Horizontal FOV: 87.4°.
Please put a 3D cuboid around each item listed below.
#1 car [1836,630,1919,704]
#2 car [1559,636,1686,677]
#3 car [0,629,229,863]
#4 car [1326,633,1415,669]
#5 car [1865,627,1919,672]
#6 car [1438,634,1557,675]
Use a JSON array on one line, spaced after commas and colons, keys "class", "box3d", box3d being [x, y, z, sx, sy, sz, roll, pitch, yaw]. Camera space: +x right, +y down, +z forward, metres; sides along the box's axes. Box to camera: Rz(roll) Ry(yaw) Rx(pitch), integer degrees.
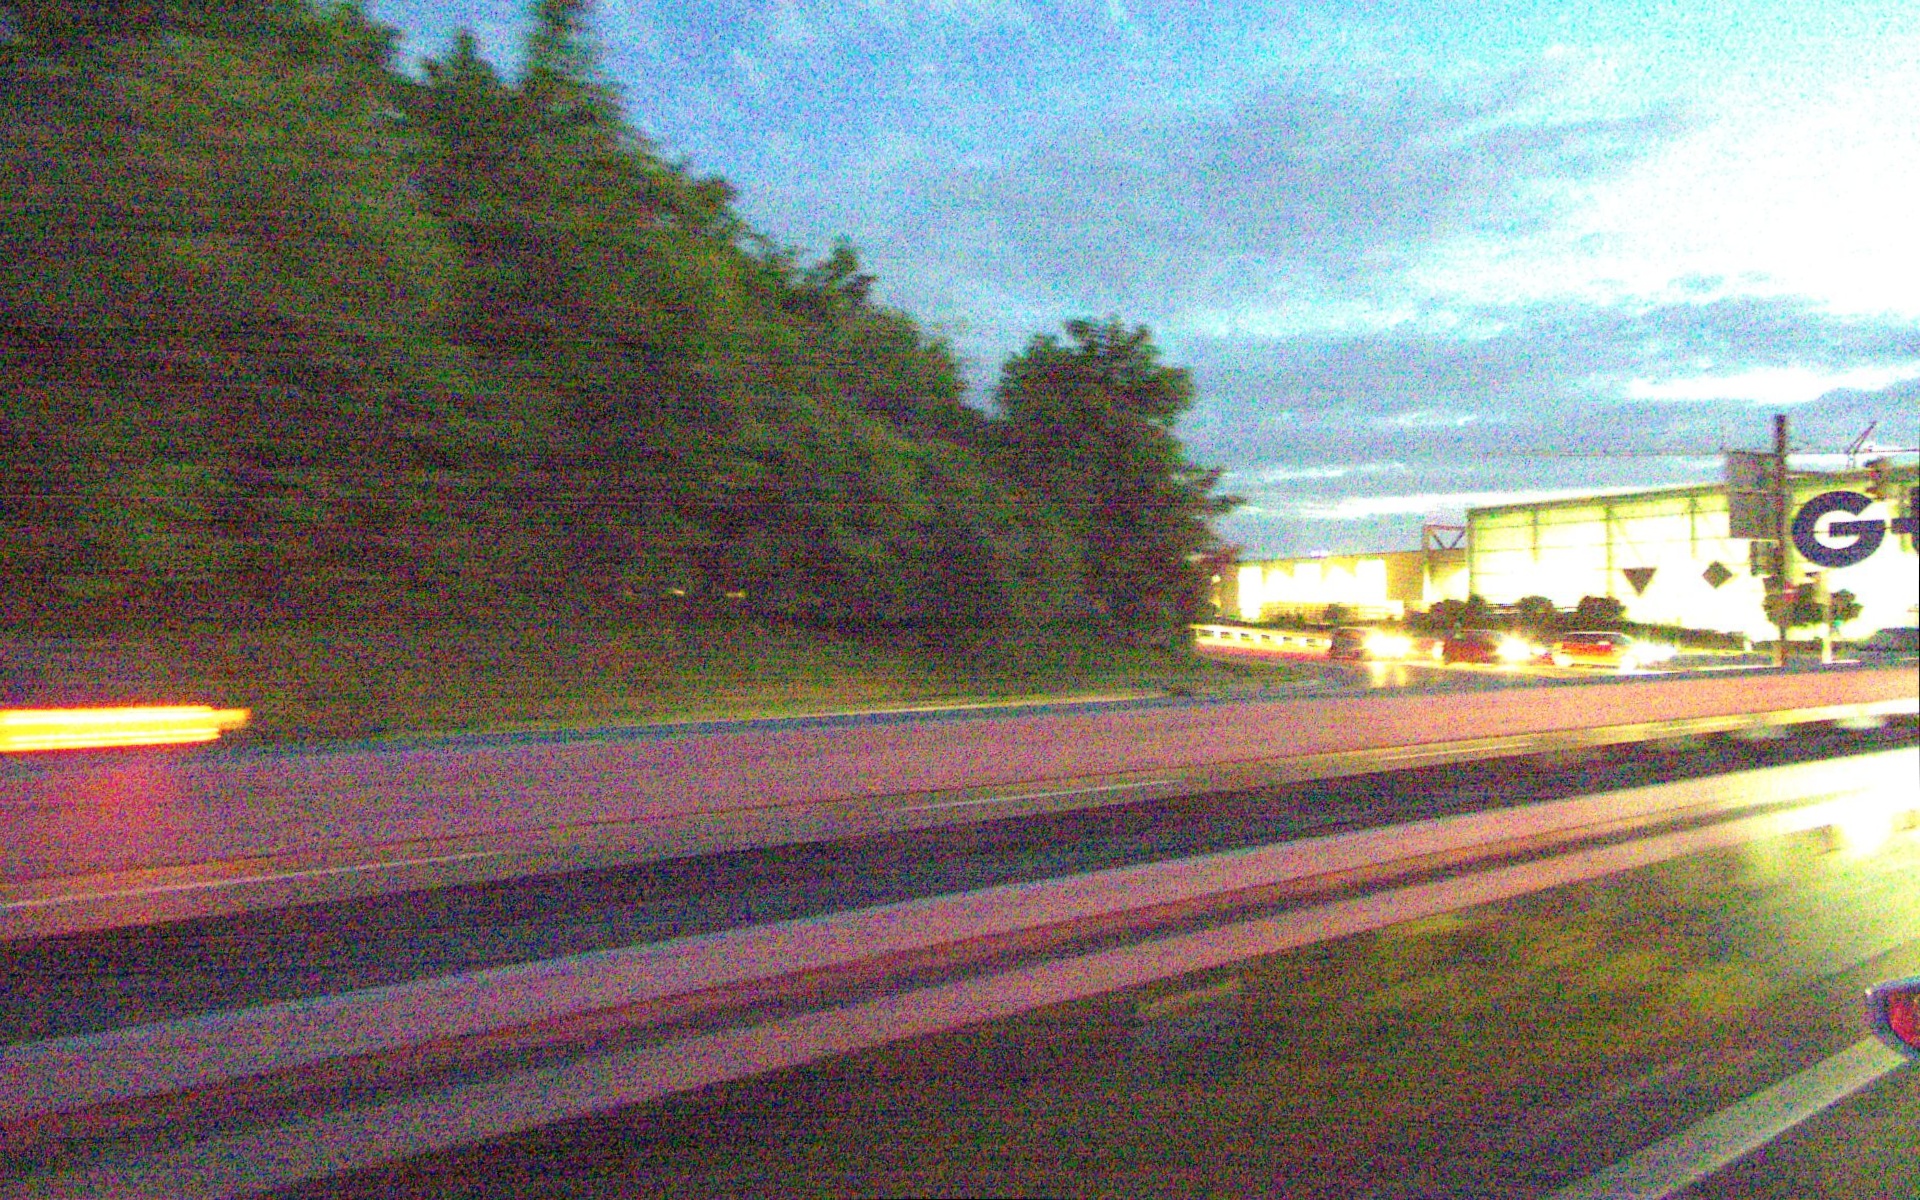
[{"class": "car", "box3d": [21.118, 1.438, 22.225, 3.474, 1.539, 1.538, 1, -3, -30]}, {"class": "car", "box3d": [25.601, 2.182, 38.945, 1.681, 1.494, 3.849, 2, -3, -23]}, {"class": "car", "box3d": [-7.911, 0.968, 6.682, 4.639, 1.506, 1.947, 1, -3, -28]}, {"class": "car", "box3d": [18.808, 2.311, 46.204, 1.664, 1.479, 3.793, 0, -1, -21]}, {"class": "car", "box3d": [45.583, 2.347, 47.370, 3.929, 2.040, 1.996, 2, 0, 31]}, {"class": "car", "box3d": [20.981, 2.097, 39.370, 1.734, 1.479, 3.980, 2, -2, -22]}]
